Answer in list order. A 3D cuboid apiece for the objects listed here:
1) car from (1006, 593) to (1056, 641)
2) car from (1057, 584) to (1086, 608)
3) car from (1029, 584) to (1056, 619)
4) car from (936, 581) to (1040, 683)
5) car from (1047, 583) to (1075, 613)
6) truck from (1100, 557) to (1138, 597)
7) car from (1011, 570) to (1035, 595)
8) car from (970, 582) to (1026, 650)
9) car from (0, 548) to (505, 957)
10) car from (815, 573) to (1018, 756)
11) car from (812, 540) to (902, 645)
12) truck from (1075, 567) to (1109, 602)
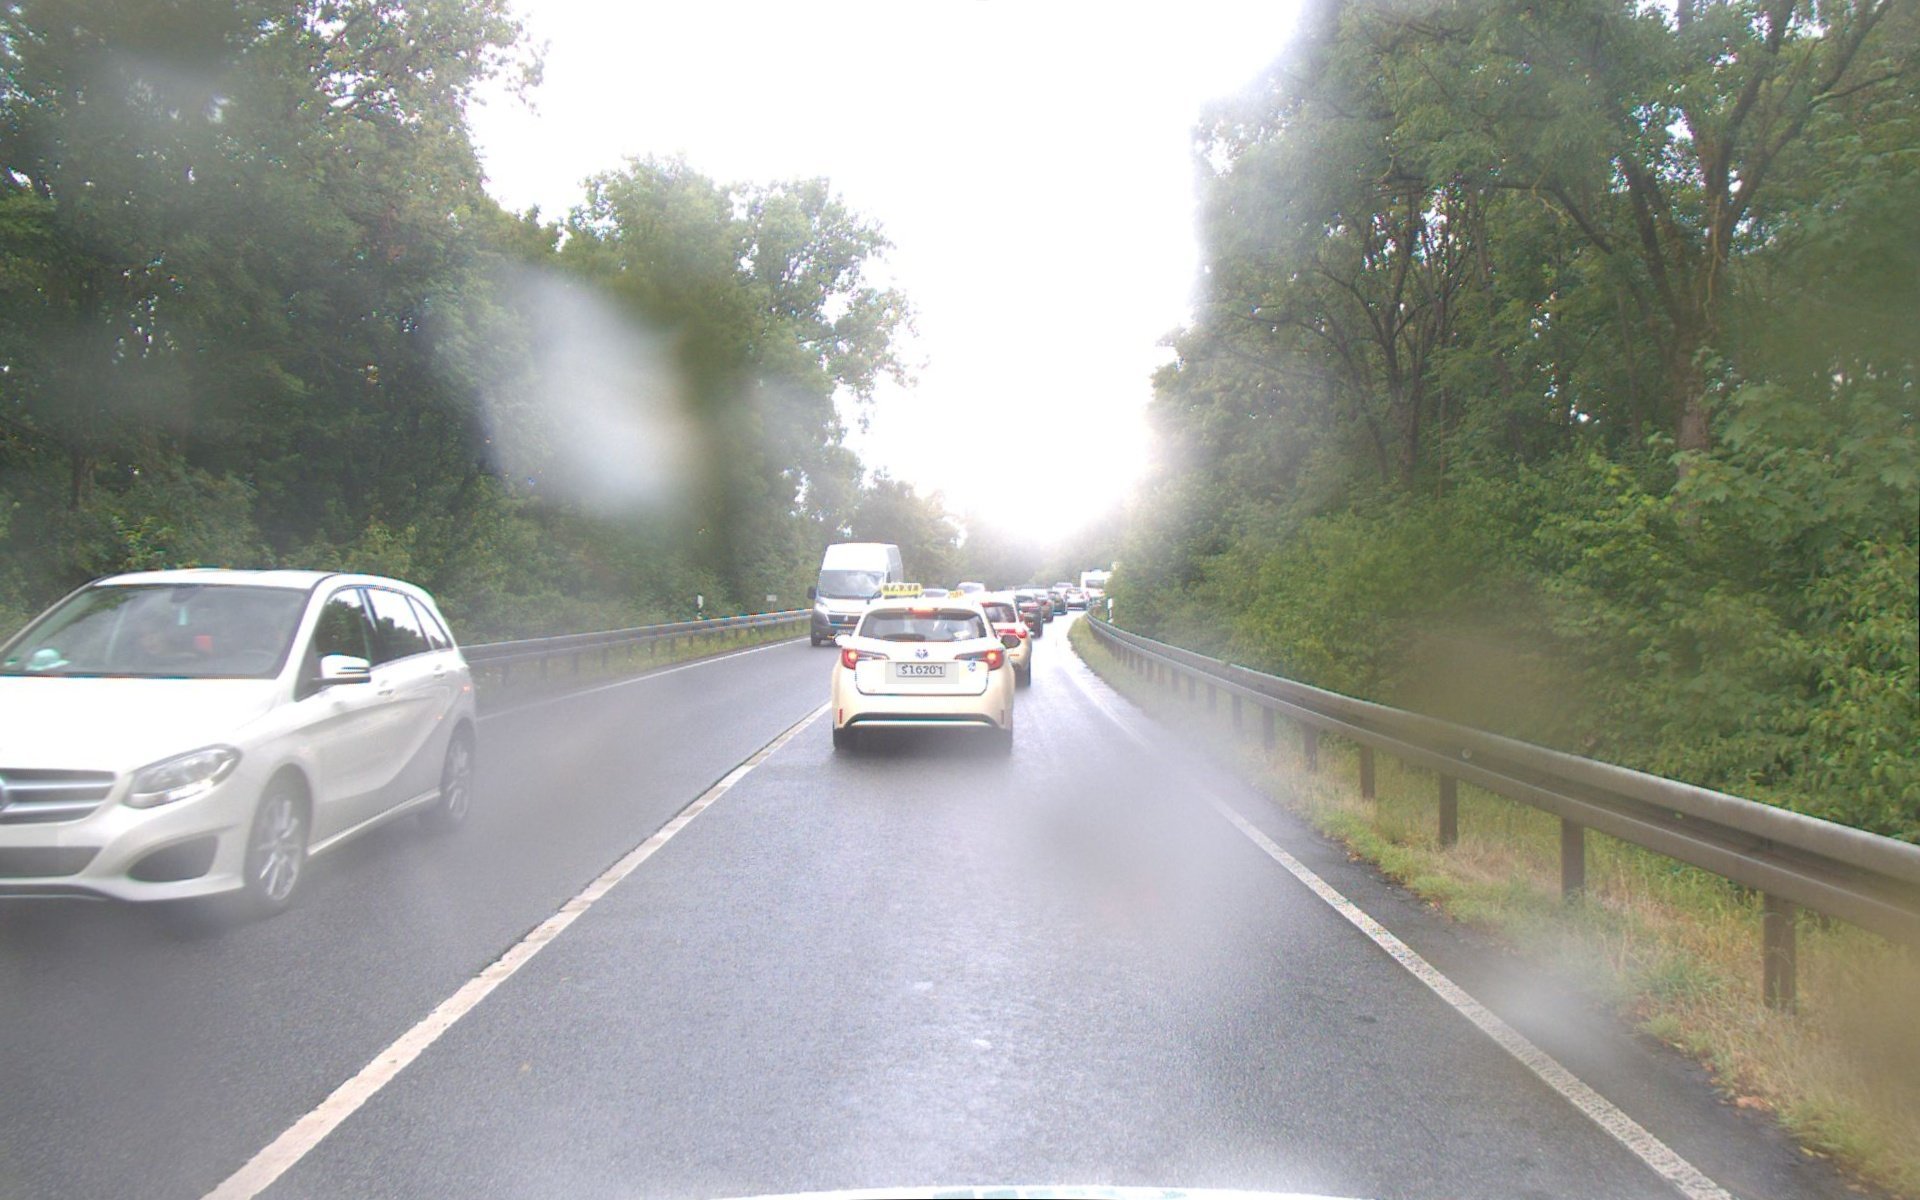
[{"bbox_3d":[2.370,0.571,55.686,1.578,1.574,3.814,0,-1,1],"label":"car"},{"bbox_3d":[7.658,-0.274,113.241,1.732,1.574,3.817,1,0,7],"label":"car"},{"bbox_3d":[3.805,0.068,76.064,1.142,1.574,2.605,1,0,4],"label":"car"},{"bbox_3d":[0.499,0.525,28.283,1.633,1.608,3.892,1,0,1],"label":"car"},{"bbox_3d":[5.766,-0.094,94.453,1.582,1.641,3.623,1,0,3],"label":"car"},{"bbox_3d":[15.865,-2.277,164.472,3.041,3.745,7.006,1,0,11],"label":"truck"},{"bbox_3d":[5.332,-1.445,139.217,1.952,2.049,4.002,1,0,3],"label":"car"},{"bbox_3d":[0.895,0.376,40.369,1.274,1.574,3.259,1,0,0],"label":"car"},{"bbox_3d":[-3.834,0.570,8.660,1.657,1.583,4.442,1,0,0],"label":"car"},{"bbox_3d":[-0.325,0.590,16.917,1.796,1.608,4.157,1,0,2],"label":"car"},{"bbox_3d":[-2.780,-0.174,45.975,2.005,2.723,6.172,0,0,1],"label":"car"},{"bbox_3d":[10.863,-1.258,136.770,2.496,2.760,7.537,1,0,2],"label":"truck"}]
